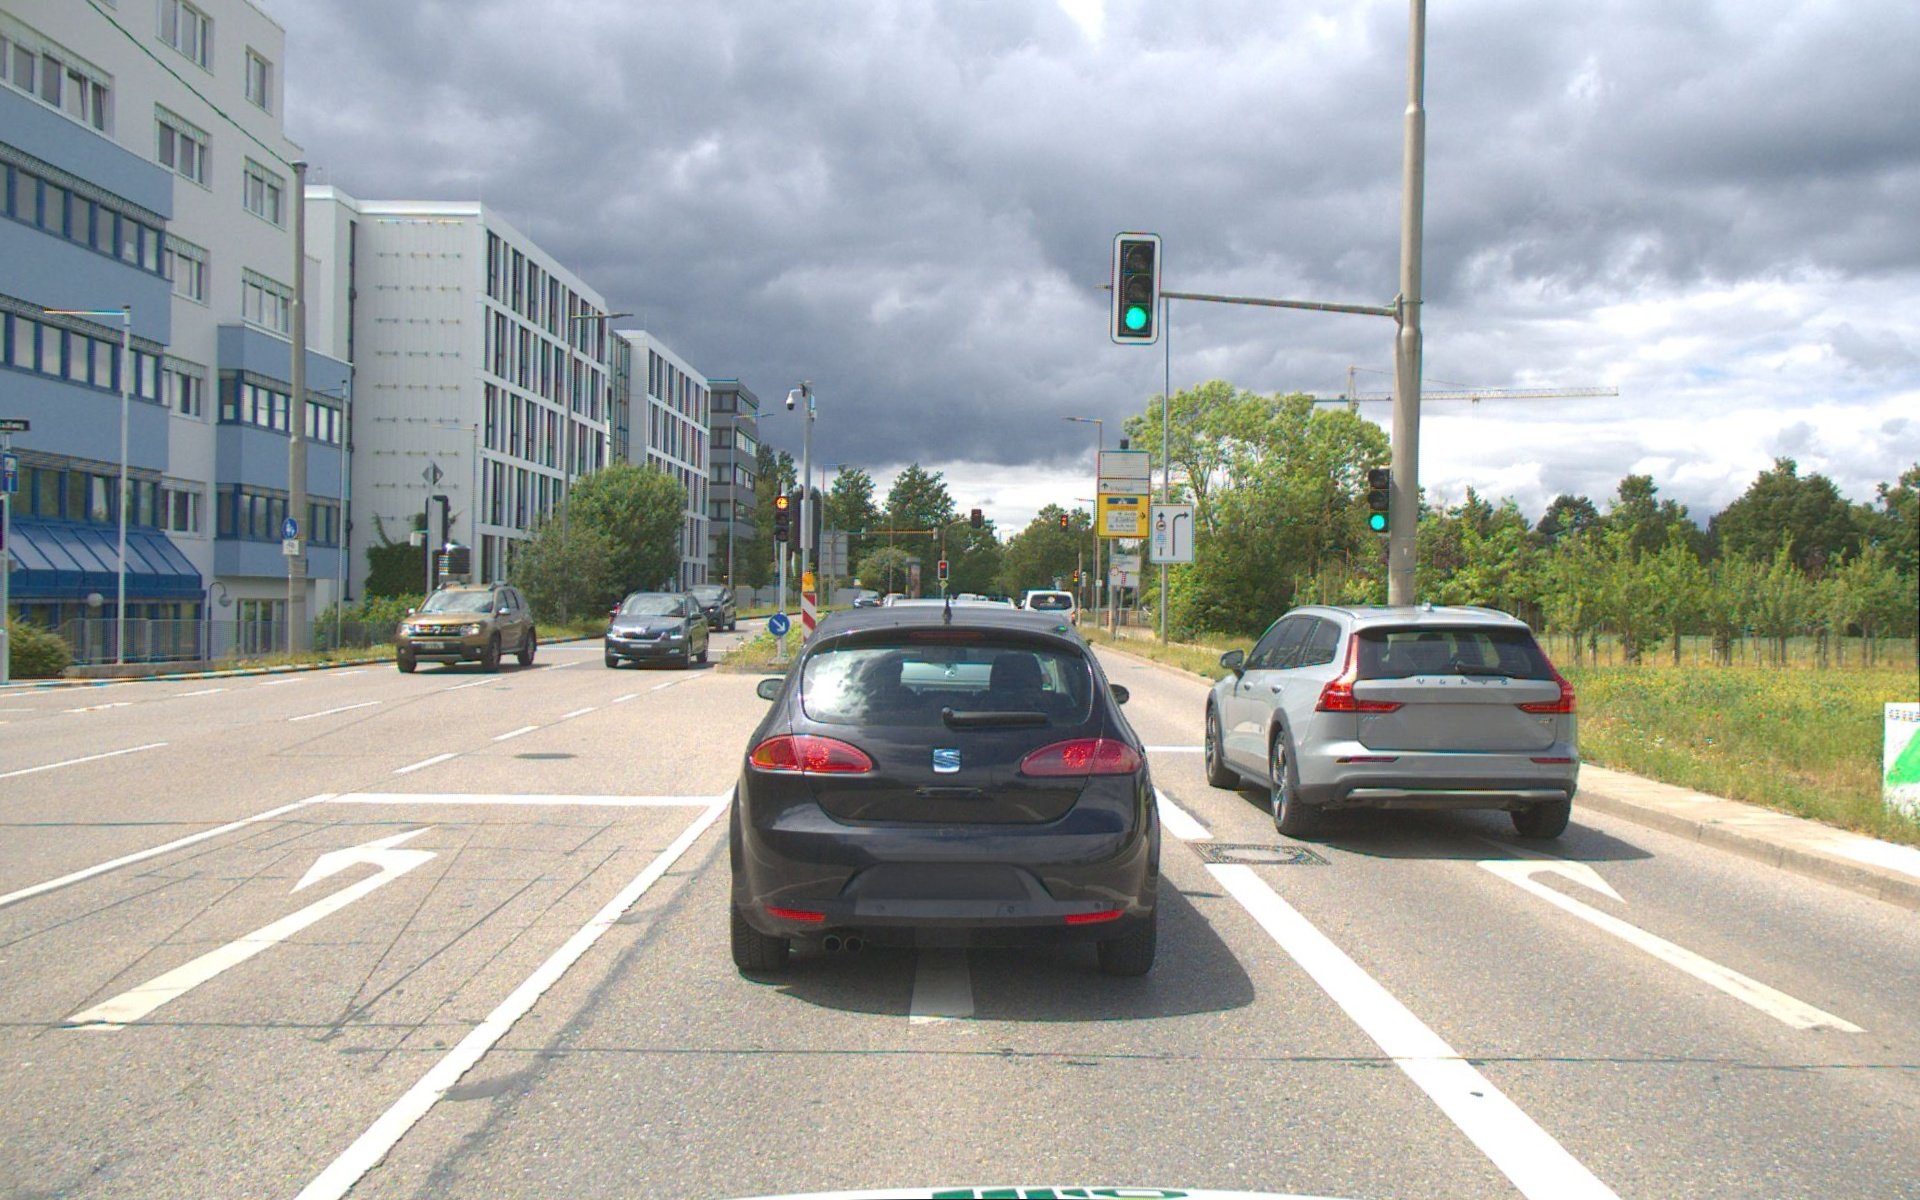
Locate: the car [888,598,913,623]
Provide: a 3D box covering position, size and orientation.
[{"bbox_3d":[-4.766,0.847,133.061,1.953,2.049,3.999,0,-1,-1],"label":"car"}]

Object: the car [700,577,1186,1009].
[{"bbox_3d":[0.026,0.691,7.835,1.711,1.510,4.001,0,0,2],"label":"car"}]

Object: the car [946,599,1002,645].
[{"bbox_3d":[0.476,0.720,55.537,1.807,1.487,4.056,0,0,1],"label":"car"}]

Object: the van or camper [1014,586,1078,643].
[{"bbox_3d":[3.030,0.523,59.030,1.861,1.959,3.997,0,-1,-3],"label":"van or camper"}]

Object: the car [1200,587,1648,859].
[{"bbox_3d":[3.038,0.738,11.867,1.918,1.552,4.339,-1,-1,-1],"label":"car"}]

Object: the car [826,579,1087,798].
[{"bbox_3d":[-0.131,0.685,14.557,1.944,1.618,4.223,1,0,-3],"label":"car"}]

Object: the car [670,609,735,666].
[{"bbox_3d":[-9.610,1.369,62.055,1.954,2.049,4.478,0,-1,-3],"label":"car"}]

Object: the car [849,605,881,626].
[{"bbox_3d":[-6.439,1.051,112.362,1.953,1.434,3.999,0,0,-1],"label":"car"}]

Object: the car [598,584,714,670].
[{"bbox_3d":[-6.124,0.496,33.675,1.635,1.551,4.007,2,1,-1],"label":"car"}]

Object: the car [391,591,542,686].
[{"bbox_3d":[-9.380,0.690,31.743,1.715,1.659,3.999,-1,0,-1],"label":"car"}]

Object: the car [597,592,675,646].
[{"bbox_3d":[-10.171,0.583,52.129,1.740,1.640,3.999,0,-1,-1],"label":"car"}]
